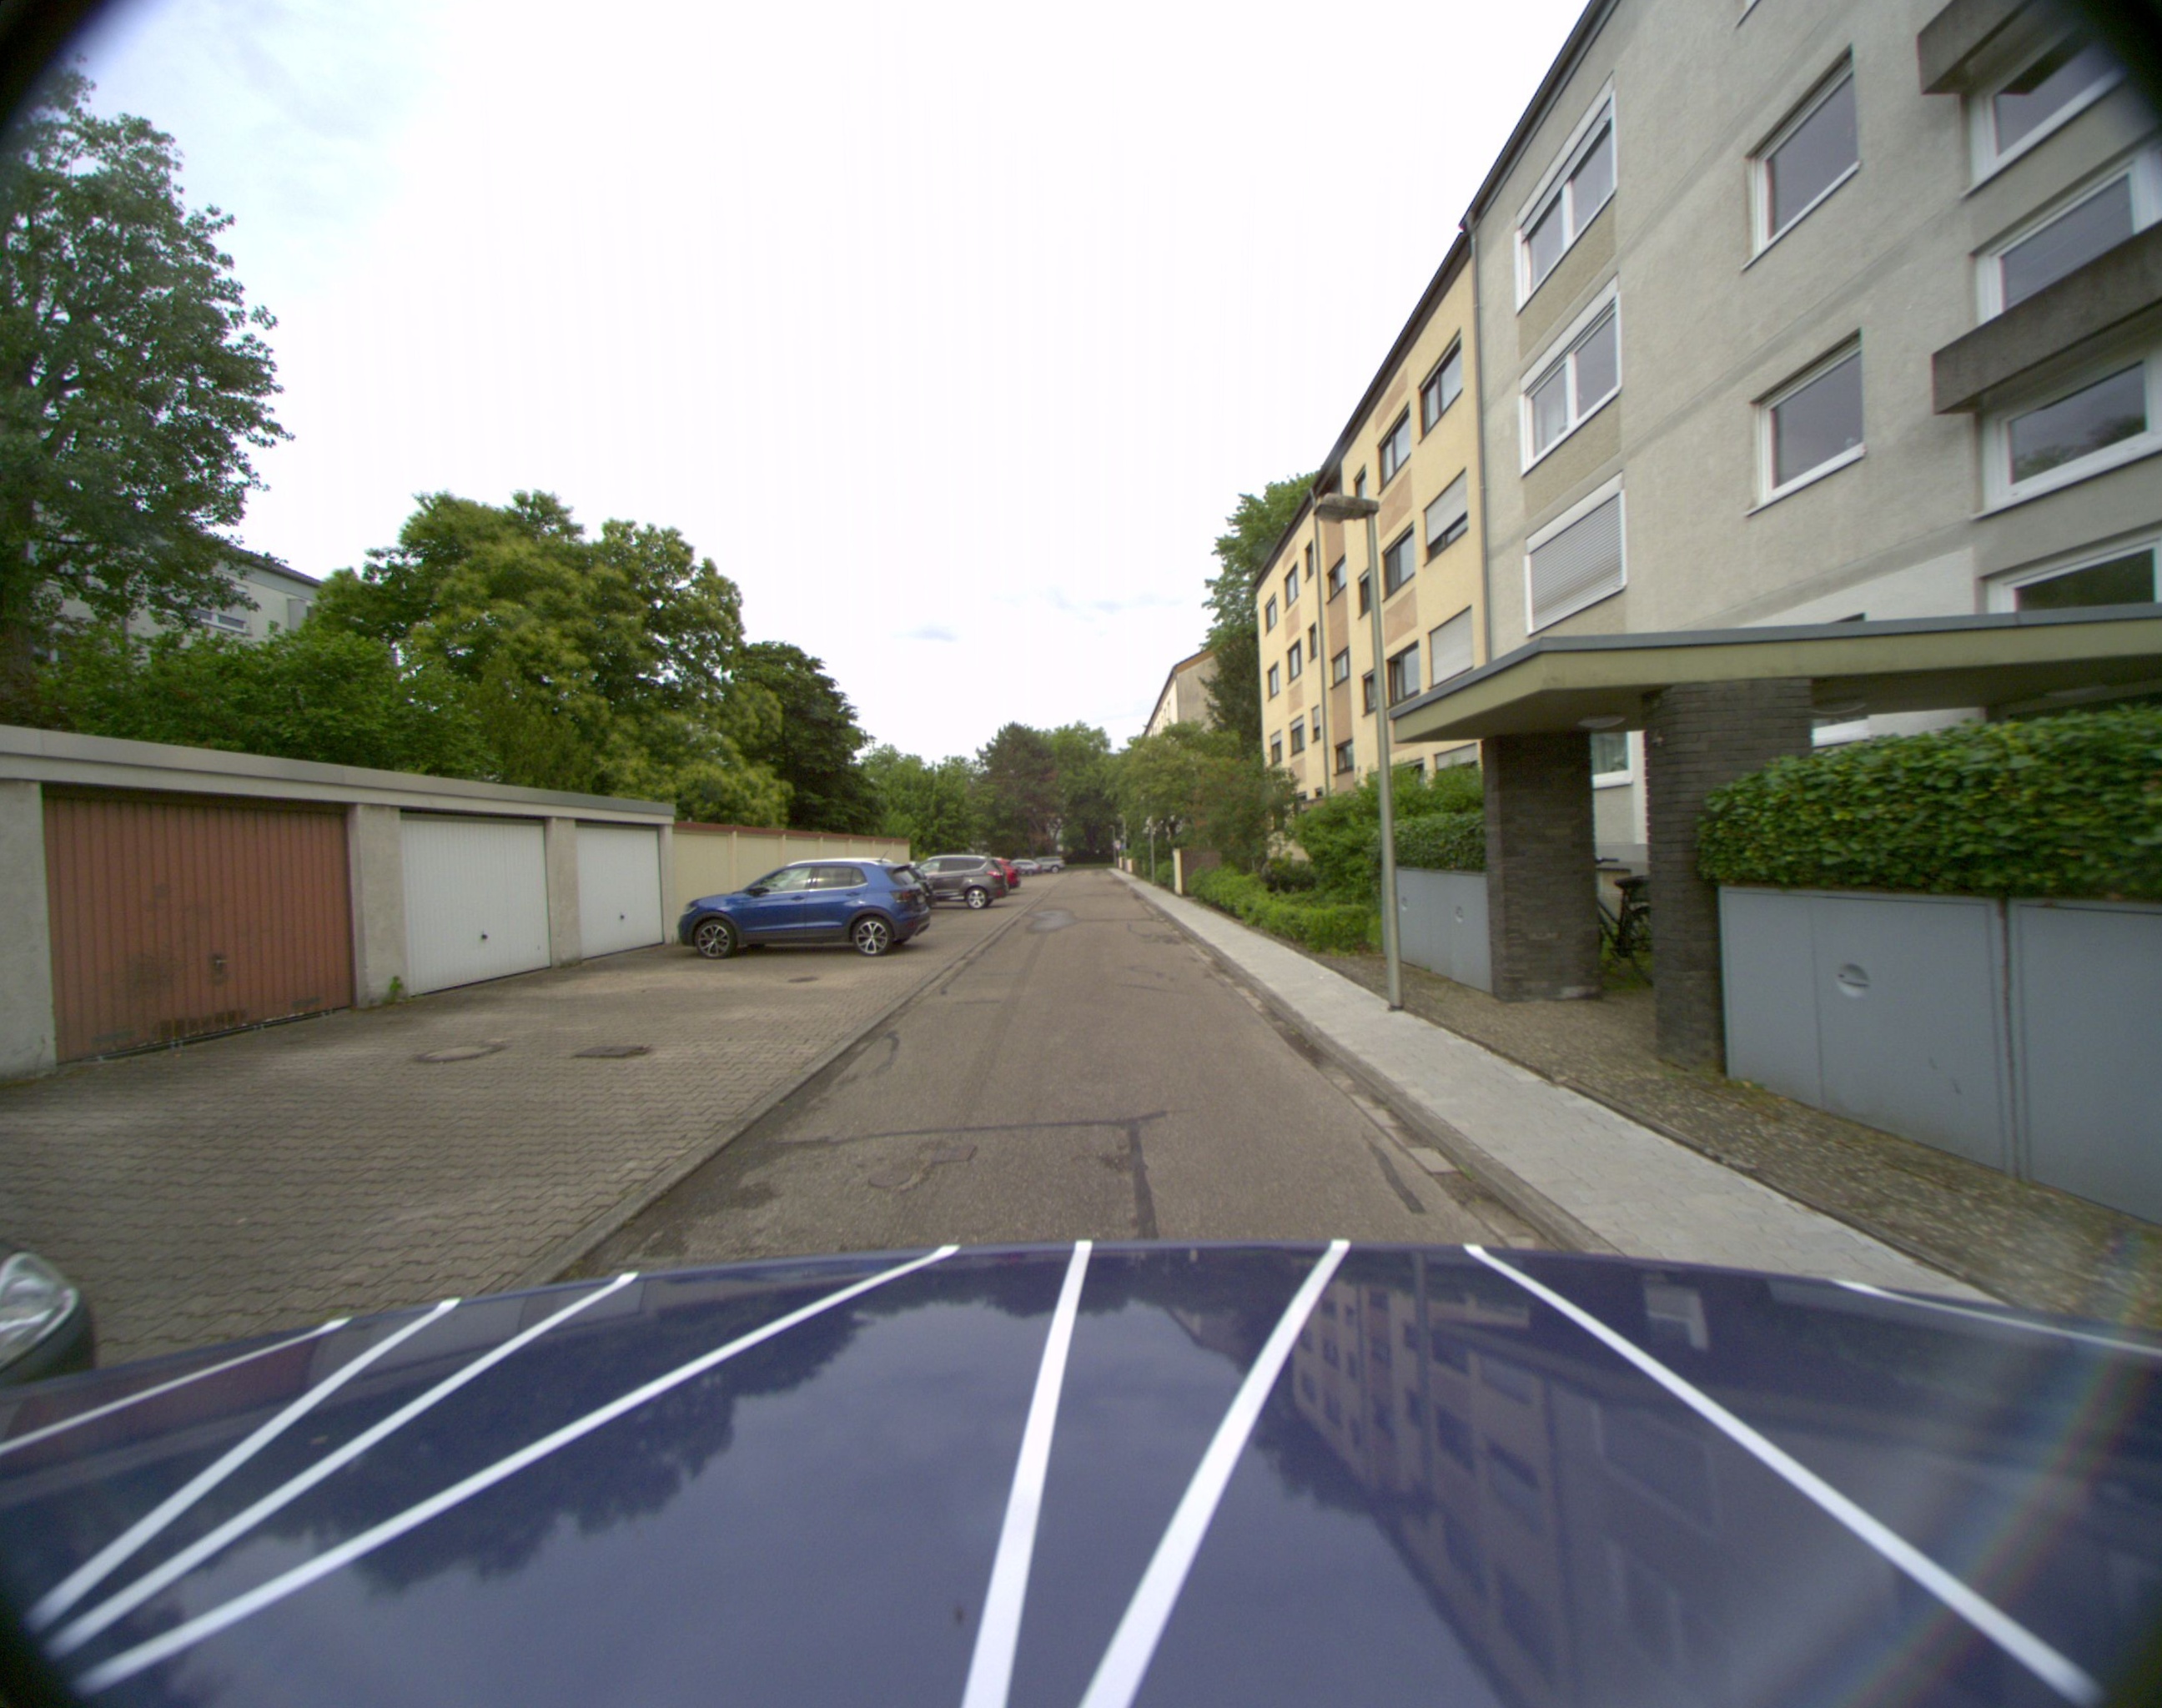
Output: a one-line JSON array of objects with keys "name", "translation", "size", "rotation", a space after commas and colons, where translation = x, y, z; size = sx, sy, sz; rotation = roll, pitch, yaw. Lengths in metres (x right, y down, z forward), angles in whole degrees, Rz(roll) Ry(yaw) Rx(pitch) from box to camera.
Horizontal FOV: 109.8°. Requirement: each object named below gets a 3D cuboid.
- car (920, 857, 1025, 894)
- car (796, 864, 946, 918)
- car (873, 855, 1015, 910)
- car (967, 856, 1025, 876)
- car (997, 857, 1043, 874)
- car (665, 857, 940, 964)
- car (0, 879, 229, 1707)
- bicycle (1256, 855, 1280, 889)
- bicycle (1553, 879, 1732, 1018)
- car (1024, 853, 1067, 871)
[{"name": "car", "translation": [-4.656, 0.906, 33.017], "size": [4.299, 1.577, 1.935], "rotation": [0, 0, 0]}, {"name": "car", "translation": [-5.961, 1.035, 21.945], "size": [3.766, 1.437, 2.000], "rotation": [0, 0, 0]}, {"name": "car", "translation": [-4.358, 0.890, 24.685], "size": [4.206, 1.717, 2.000], "rotation": [0, 0, 0]}, {"name": "car", "translation": [-6.703, 0.910, 60.007], "size": [4.334, 1.476, 1.788], "rotation": [1, 0, 1]}, {"name": "car", "translation": [-5.661, 1.050, 70.778], "size": [4.104, 1.476, 1.787], "rotation": [-2, 0, 0]}, {"name": "car", "translation": [-4.628, 0.913, 13.131], "size": [3.997, 1.693, 2.000], "rotation": [0, 0, 0]}, {"name": "car", "translation": [-4.506, 0.966, 1.081], "size": [4.321, 1.791, 2.000], "rotation": [0, 0, 0]}, {"name": "bicycle", "translation": [6.071, 0.593, 24.758], "size": [0.315, 1.045, 1.691], "rotation": [-2, -1, -1]}, {"name": "bicycle", "translation": [4.972, 0.783, 6.853], "size": [0.454, 1.028, 1.546], "rotation": [-4, 0, 2]}, {"name": "car", "translation": [-3.515, 0.769, 75.820], "size": [4.104, 1.636, 1.787], "rotation": [-2, 0, 0]}]
